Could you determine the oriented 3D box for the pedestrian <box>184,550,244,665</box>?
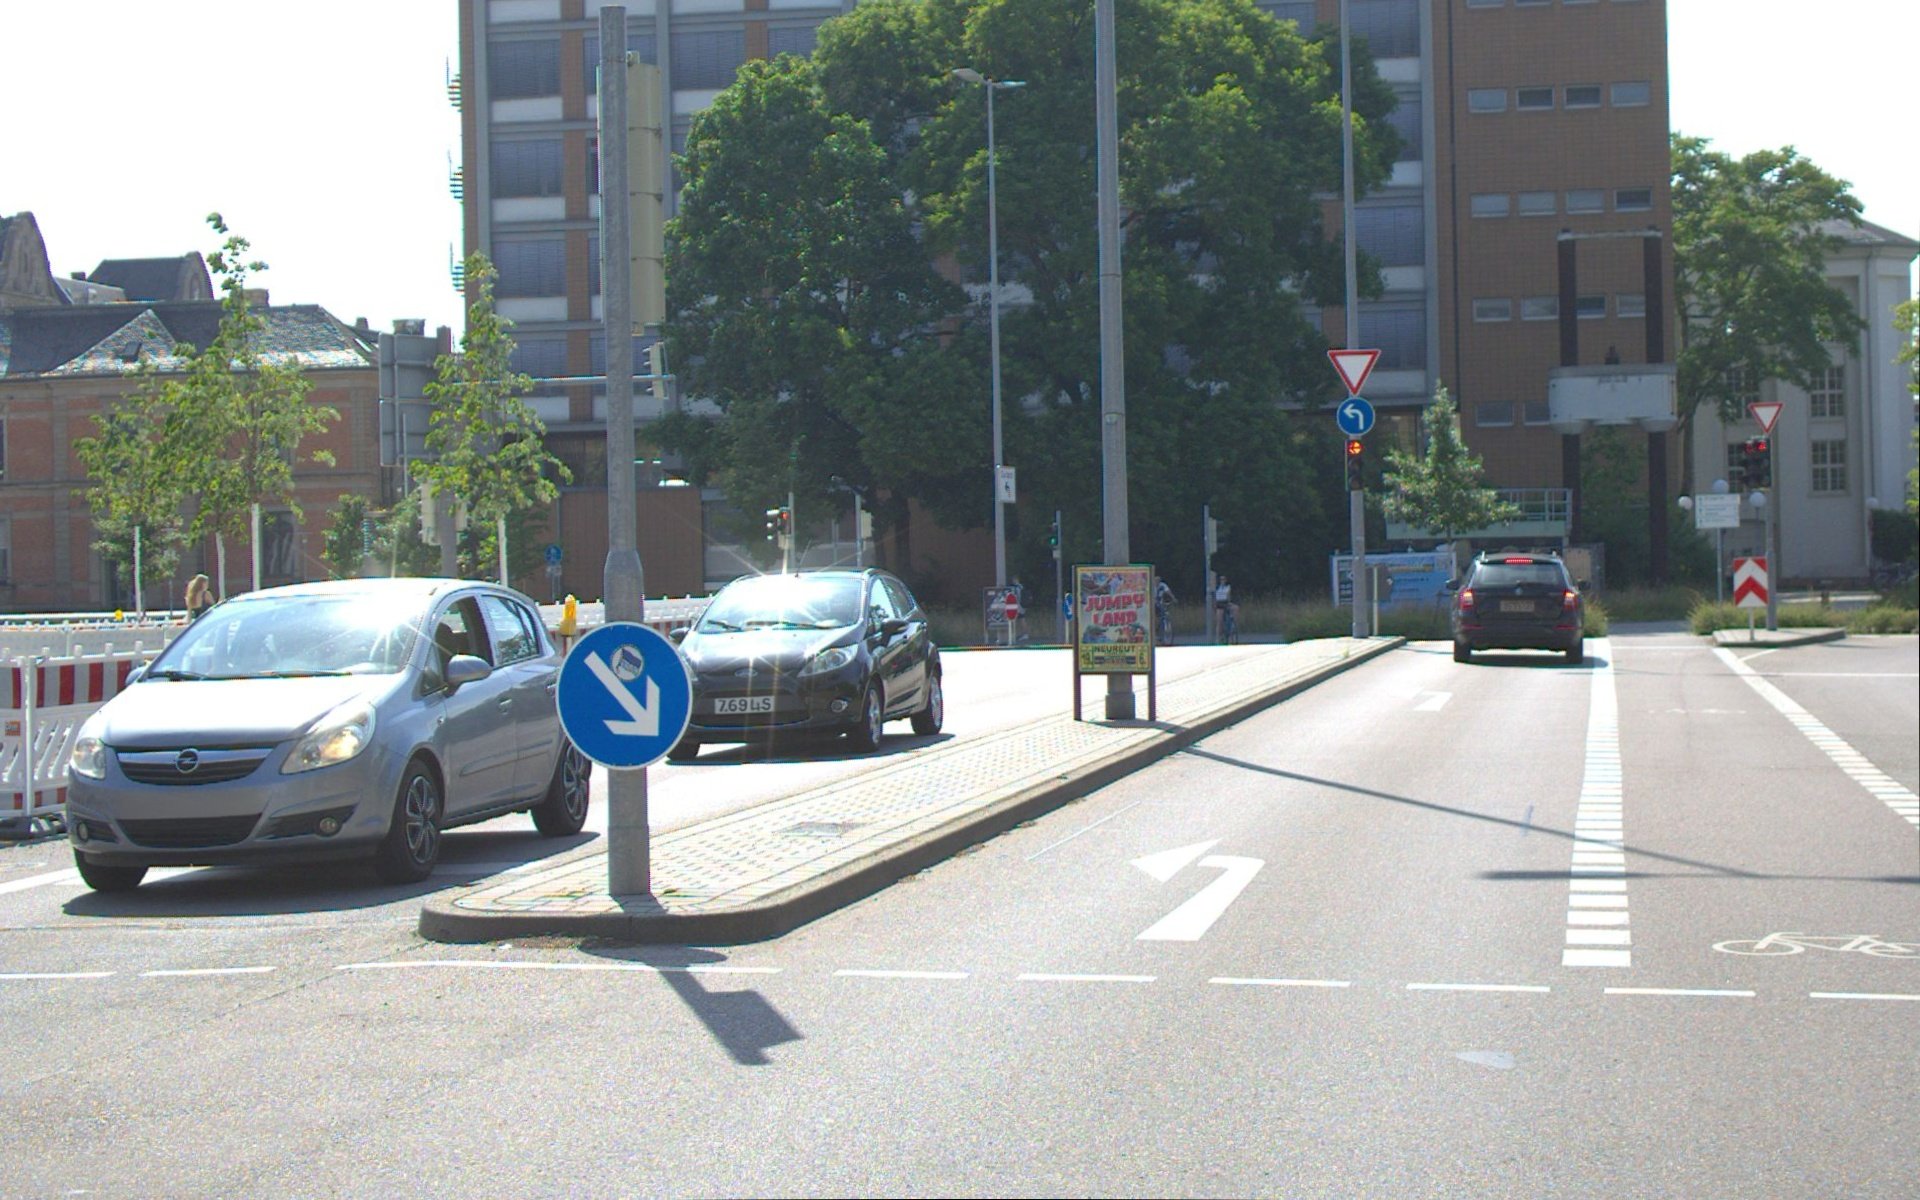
[{"bbox_3d":[-11.688,0.130,53.877,0.736,1.746,1.111,-2,-2,-5],"label":"pedestrian"}]

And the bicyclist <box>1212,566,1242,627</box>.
[{"bbox_3d":[6.550,-0.092,84.380,0.618,1.438,0.920,-4,0,6],"label":"bicyclist"}]

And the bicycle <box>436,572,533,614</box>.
[{"bbox_3d":[-9.485,-0.133,68.552,1.892,0.790,0.560,-1,2,24],"label":"bicycle"}]

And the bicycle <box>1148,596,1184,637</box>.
[{"bbox_3d":[5.226,0.408,87.010,0.704,0.974,2.030,-2,0,9],"label":"bicycle"}]

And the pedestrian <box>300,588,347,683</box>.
[{"bbox_3d":[-10.202,0.567,55.111,0.630,1.486,0.617,-2,0,-5],"label":"pedestrian"}]

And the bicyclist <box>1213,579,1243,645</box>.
[{"bbox_3d":[6.575,0.298,84.380,0.618,1.576,1.013,-4,0,6],"label":"bicyclist"}]

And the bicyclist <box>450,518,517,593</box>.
[{"bbox_3d":[-9.505,-0.888,68.552,1.167,1.469,0.563,-1,0,23],"label":"bicyclist"}]

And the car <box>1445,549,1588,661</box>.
[{"bbox_3d":[7.610,0.036,46.793,1.780,1.438,3.816,0,1,11],"label":"car"}]

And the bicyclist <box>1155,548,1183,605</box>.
[{"bbox_3d":[5.296,-0.579,87.054,0.539,1.412,1.030,-2,-1,9],"label":"bicyclist"}]

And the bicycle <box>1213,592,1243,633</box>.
[{"bbox_3d":[6.575,0.298,84.379,0.618,0.957,1.967,-4,0,6],"label":"bicycle"}]

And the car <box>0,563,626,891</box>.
[{"bbox_3d":[-3.180,0.567,17.606,1.794,1.407,3.998,-3,0,11],"label":"car"}]

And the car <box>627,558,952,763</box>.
[{"bbox_3d":[-1.285,0.434,27.568,1.667,1.446,3.816,-3,0,11],"label":"car"}]
